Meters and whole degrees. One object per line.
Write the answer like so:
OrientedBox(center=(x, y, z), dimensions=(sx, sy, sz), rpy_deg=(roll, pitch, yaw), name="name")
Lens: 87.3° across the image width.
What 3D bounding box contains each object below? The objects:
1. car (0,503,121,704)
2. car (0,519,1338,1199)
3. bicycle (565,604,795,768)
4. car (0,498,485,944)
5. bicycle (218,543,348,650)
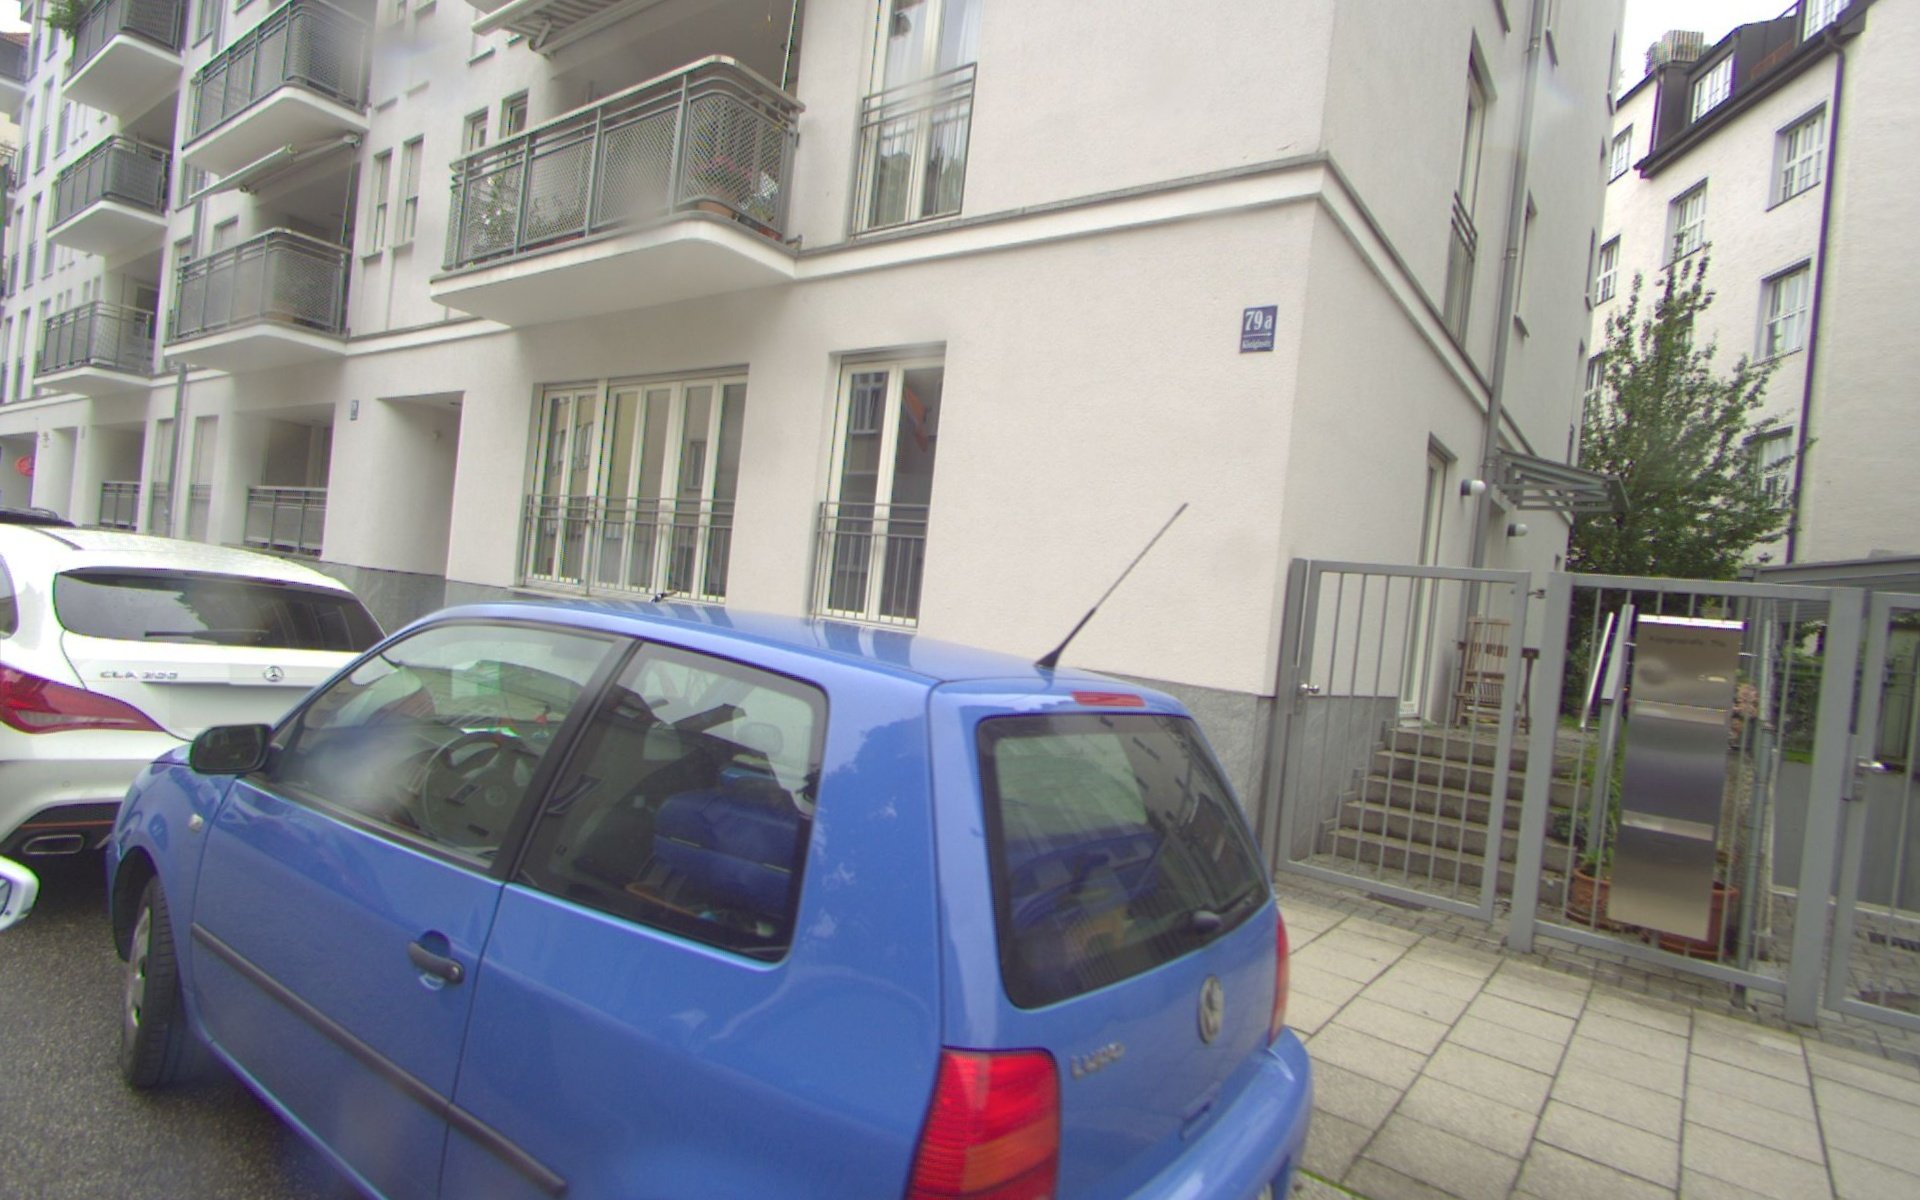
OrientedBox(center=(-9.155, -0.159, 8.890), dimensions=(3.922, 1.547, 1.606), rpy_deg=(6, -3, 36), name="car")
OrientedBox(center=(-1.039, 0.685, 2.771), dimensions=(3.498, 1.428, 1.621), rpy_deg=(6, -3, 35), name="car")
OrientedBox(center=(-2.199, 0.622, 7.800), dimensions=(1.807, 1.040, 0.677), rpy_deg=(4, -1, 36), name="bicycle")
OrientedBox(center=(-4.386, 0.318, 5.084), dimensions=(4.141, 1.456, 1.660), rpy_deg=(6, -3, 36), name="car")
OrientedBox(center=(-8.846, -0.063, 13.113), dimensions=(2.094, 1.175, 0.627), rpy_deg=(6, 1, 35), name="bicycle")
